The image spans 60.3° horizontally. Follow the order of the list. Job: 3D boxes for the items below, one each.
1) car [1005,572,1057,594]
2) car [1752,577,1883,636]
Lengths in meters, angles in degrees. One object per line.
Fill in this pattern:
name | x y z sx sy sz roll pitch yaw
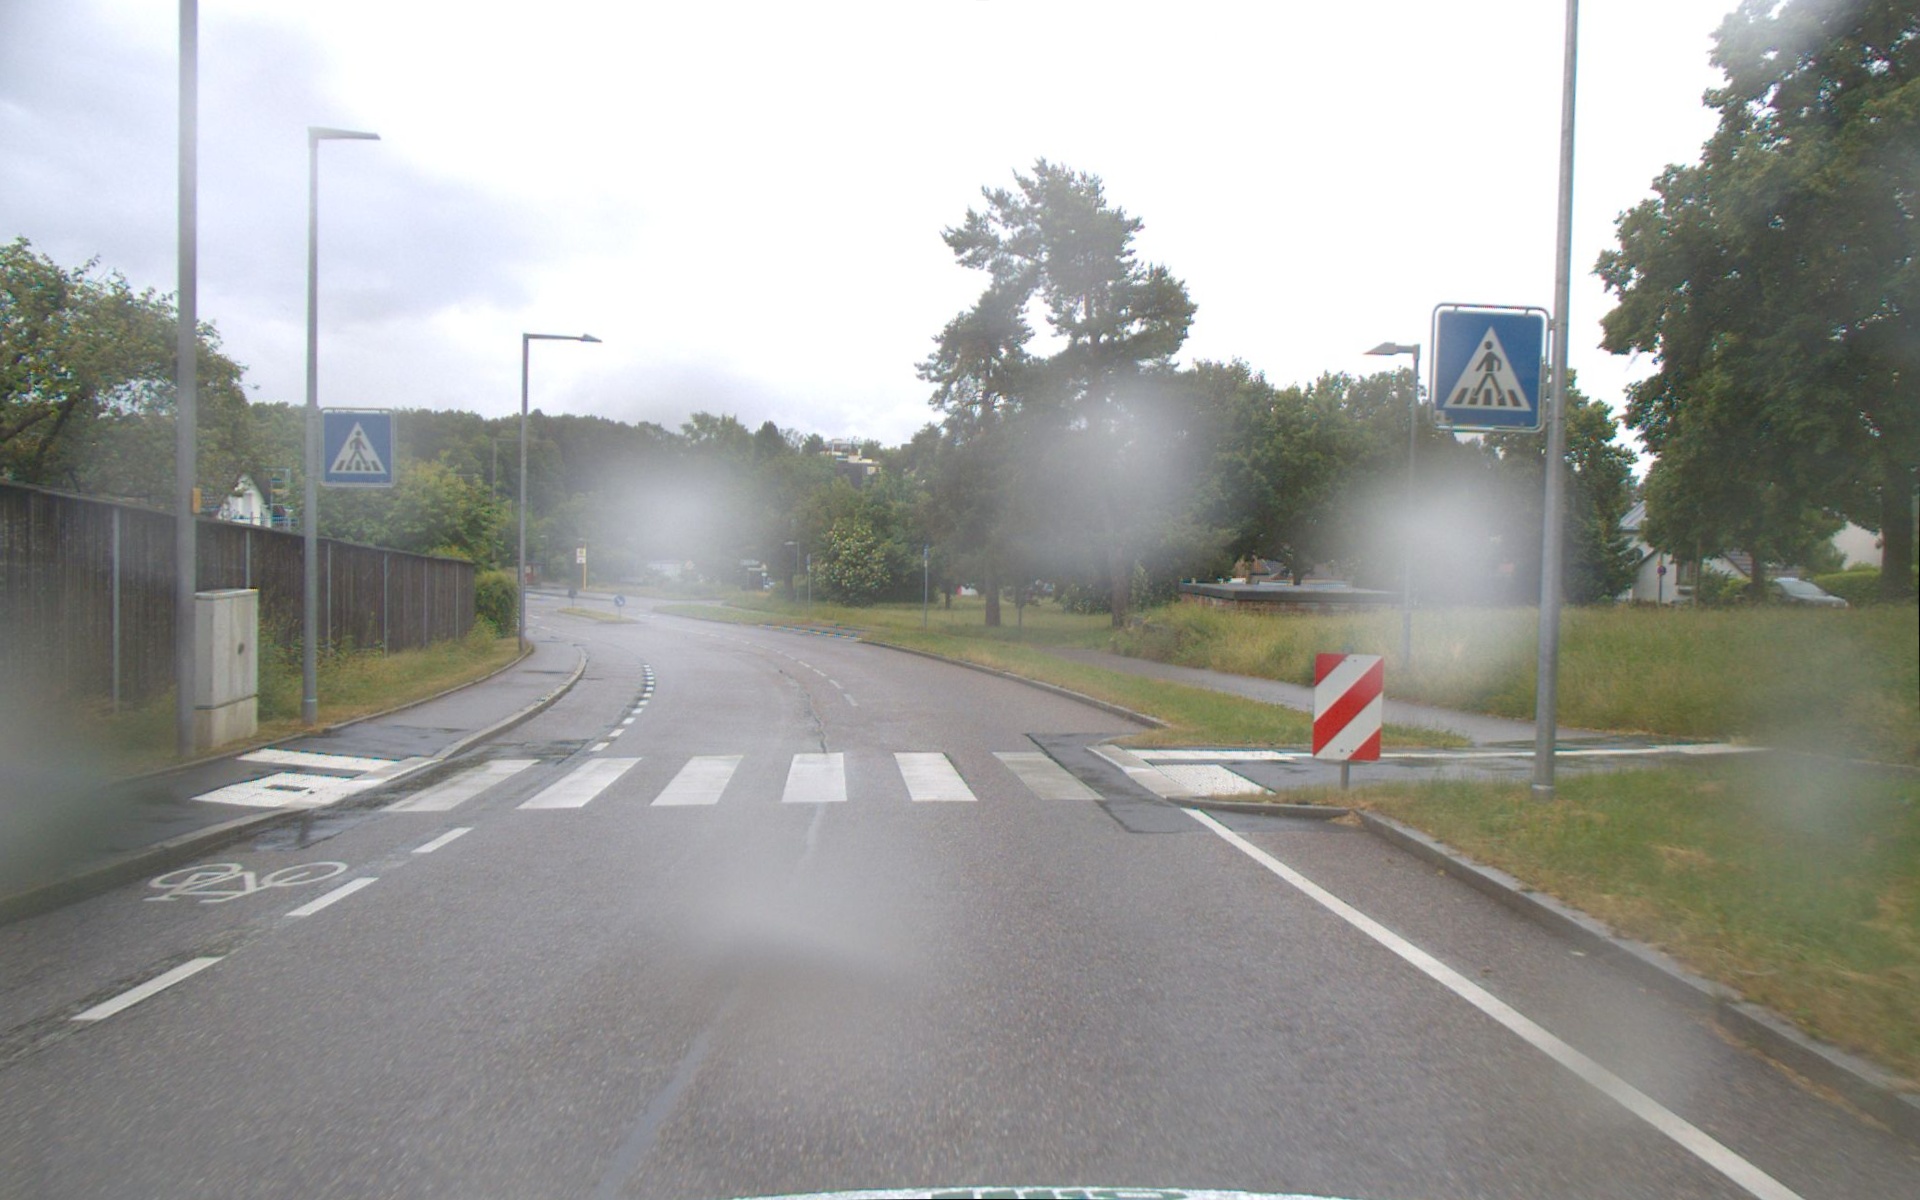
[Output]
car | 6.562 -1.599 152.523 4.465 1.780 1.907 -3 0 35
car | 25.995 0.159 50.284 1.789 1.681 3.998 0 1 -3
